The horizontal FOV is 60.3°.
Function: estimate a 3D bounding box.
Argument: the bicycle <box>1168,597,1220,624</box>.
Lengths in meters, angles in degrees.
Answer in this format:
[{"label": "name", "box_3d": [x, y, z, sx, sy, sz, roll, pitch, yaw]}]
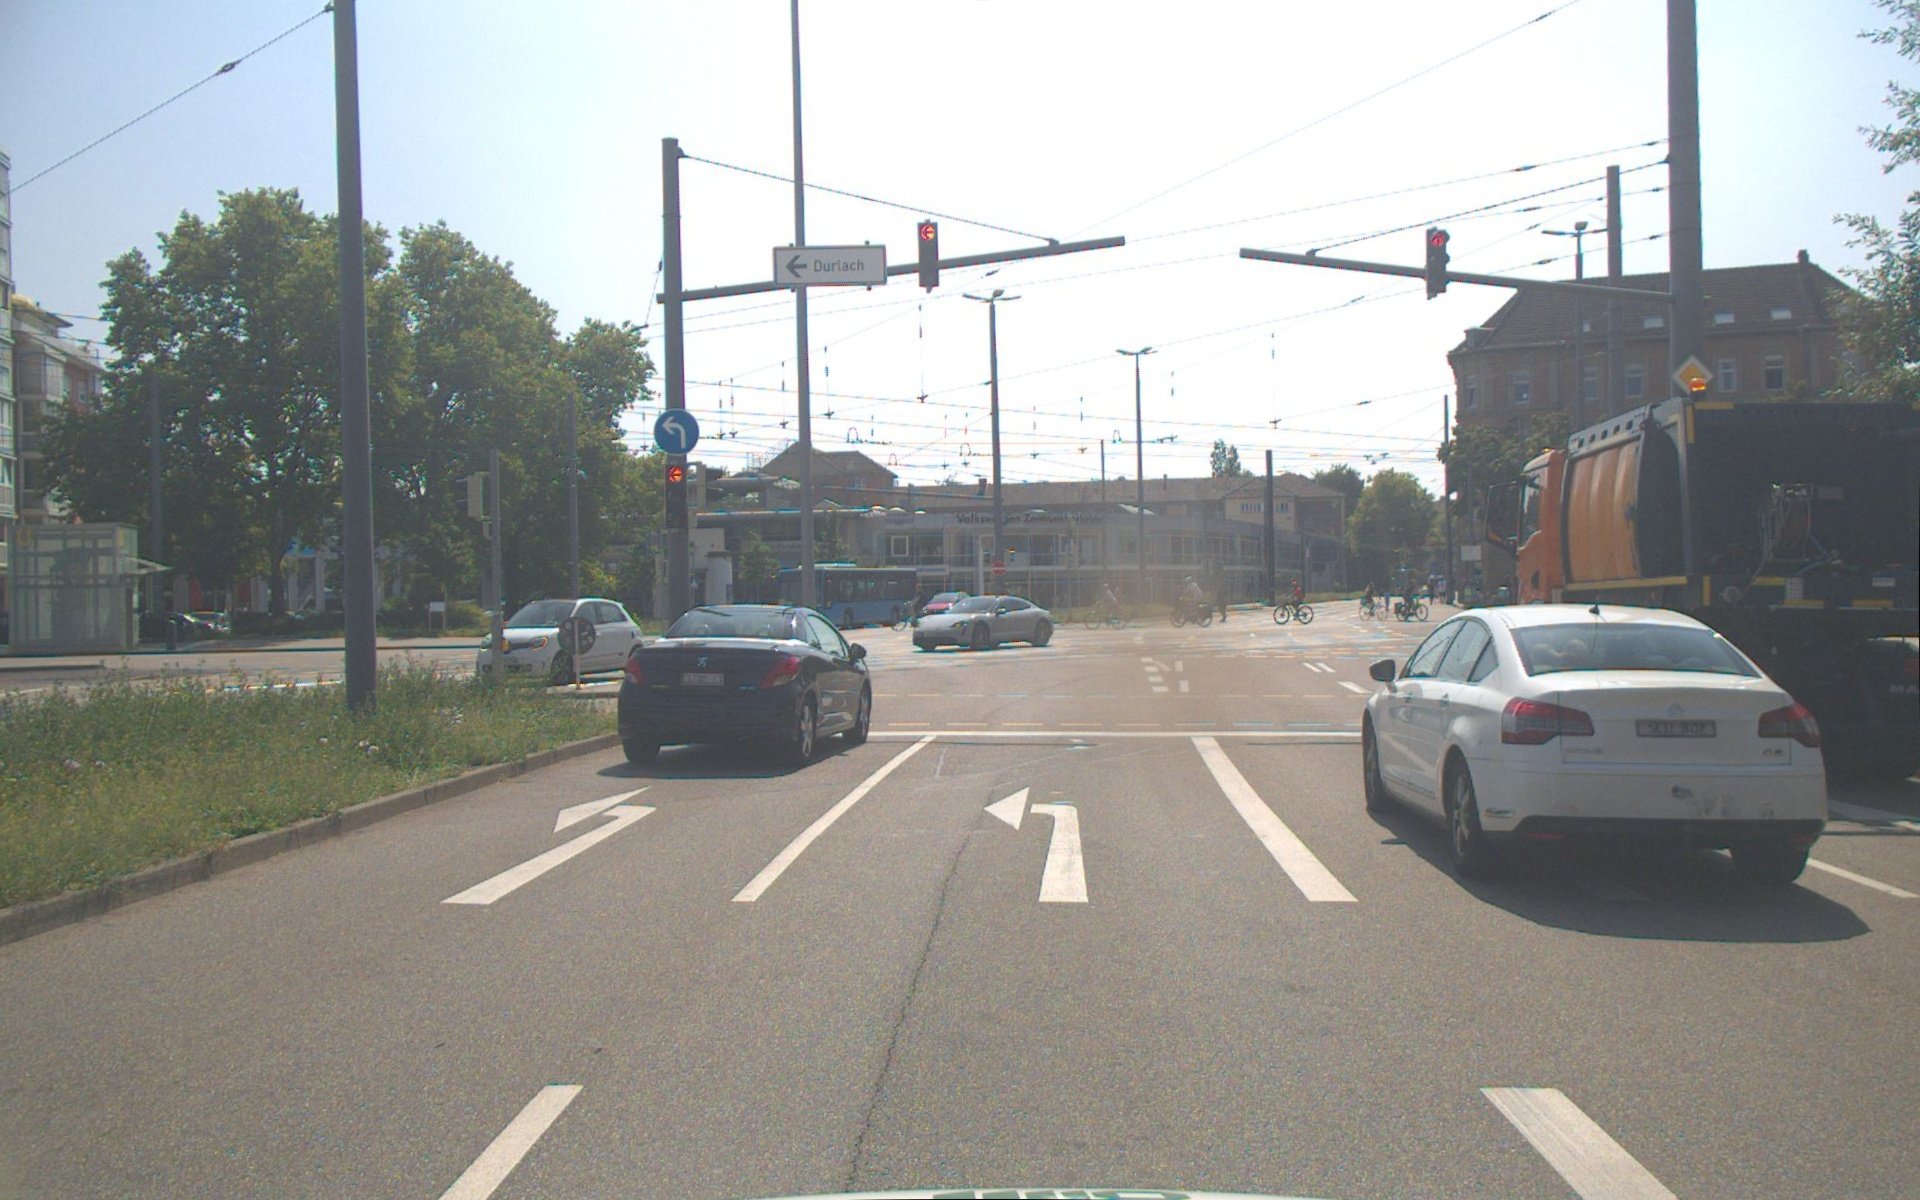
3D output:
[{"label": "bicycle", "box_3d": [9.334, 0.416, 65.987, 1.940, 1.036, 0.713, -1, 0, -7]}]

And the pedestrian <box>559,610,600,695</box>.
[{"label": "pedestrian", "box_3d": [-5.991, 0.822, 26.031, 0.586, 1.290, 0.503, -1, 2, -15]}]

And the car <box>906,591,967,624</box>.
[{"label": "car", "box_3d": [-1.094, 0.340, 78.229, 1.692, 1.444, 3.842, -1, 0, 18]}]

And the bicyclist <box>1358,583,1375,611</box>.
[{"label": "bicyclist", "box_3d": [18.591, -0.124, 75.644, 0.590, 1.269, 0.500, -1, 0, -39]}]

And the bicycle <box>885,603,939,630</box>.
[{"label": "bicycle", "box_3d": [-2.059, 0.702, 70.610, 2.161, 1.106, 0.760, -1, 0, -15]}]

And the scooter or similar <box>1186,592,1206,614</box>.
[{"label": "scooter or similar", "box_3d": [10.742, 0.139, 75.343, 0.818, 0.991, 0.793, -1, 0, 2]}]

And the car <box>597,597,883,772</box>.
[{"label": "car", "box_3d": [-1.950, 0.706, 15.880, 1.720, 1.429, 3.984, 0, 0, 8]}]

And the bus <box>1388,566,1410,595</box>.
[{"label": "bus", "box_3d": [55.758, -2.504, 209.909, 2.507, 3.567, 7.807, -1, 0, 16]}]

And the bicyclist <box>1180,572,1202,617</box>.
[{"label": "bicyclist", "box_3d": [9.196, -0.222, 65.966, 0.691, 1.794, 0.713, -1, 0, -7]}]

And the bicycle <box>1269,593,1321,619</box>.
[{"label": "bicycle", "box_3d": [13.710, 0.260, 67.630, 1.940, 1.036, 0.714, -1, 0, 28]}]

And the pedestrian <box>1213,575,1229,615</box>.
[{"label": "pedestrian", "box_3d": [11.866, -0.223, 75.201, 0.609, 1.782, 0.628, -1, 0, 1]}]

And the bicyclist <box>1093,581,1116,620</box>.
[{"label": "bicyclist", "box_3d": [5.677, 0.027, 65.013, 0.655, 1.535, 0.710, -1, 0, -21]}]

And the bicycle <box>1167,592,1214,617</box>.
[{"label": "bicycle", "box_3d": [10.102, 0.188, 72.486, 1.950, 1.036, 0.710, -1, 0, -22]}]

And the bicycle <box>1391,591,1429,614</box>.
[{"label": "bicycle", "box_3d": [19.908, 0.114, 73.199, 1.558, 1.002, 0.507, -1, 0, 20]}]

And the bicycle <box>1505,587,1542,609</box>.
[{"label": "bicycle", "box_3d": [25.944, -0.097, 76.187, 1.559, 1.002, 0.507, -1, 0, 24]}]

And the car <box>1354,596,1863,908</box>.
[{"label": "car", "box_3d": [3.664, 0.734, 10.237, 1.721, 1.480, 4.428, 0, 0, 5]}]

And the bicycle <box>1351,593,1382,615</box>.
[{"label": "bicycle", "box_3d": [18.594, 0.177, 75.642, 1.581, 1.002, 0.500, -1, 0, -40]}]

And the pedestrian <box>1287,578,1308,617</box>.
[{"label": "pedestrian", "box_3d": [13.787, -0.104, 67.586, 0.649, 1.561, 0.714, -1, 0, 28]}]

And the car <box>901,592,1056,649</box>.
[{"label": "car", "box_3d": [0.560, 0.526, 44.852, 1.907, 1.424, 4.569, -1, 0, 36]}]

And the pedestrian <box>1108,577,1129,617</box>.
[{"label": "pedestrian", "box_3d": [7.150, -0.123, 74.512, 0.767, 1.782, 0.809, -1, 0, 19]}]

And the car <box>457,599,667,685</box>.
[{"label": "car", "box_3d": [-7.332, 0.738, 30.871, 1.734, 1.450, 4.066, -1, 0, 23]}]

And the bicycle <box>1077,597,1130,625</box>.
[{"label": "bicycle", "box_3d": [5.626, 0.420, 64.996, 1.950, 1.036, 0.710, -1, 0, -22]}]

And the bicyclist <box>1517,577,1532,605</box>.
[{"label": "bicyclist", "box_3d": [26.003, -0.427, 76.160, 0.582, 1.269, 0.507, -1, 0, 24]}]

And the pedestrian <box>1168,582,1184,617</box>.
[{"label": "pedestrian", "box_3d": [9.829, -0.032, 75.354, 0.622, 1.588, 0.748, -1, 0, 2]}]

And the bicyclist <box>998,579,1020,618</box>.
[{"label": "bicyclist", "box_3d": [2.120, -0.062, 71.560, 0.748, 1.662, 0.761, -1, 0, -11]}]

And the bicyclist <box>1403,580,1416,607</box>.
[{"label": "bicyclist", "box_3d": [19.886, -0.282, 73.210, 0.493, 1.209, 0.507, -1, 0, 20]}]

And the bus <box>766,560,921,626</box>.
[{"label": "bus", "box_3d": [-5.512, -0.384, 81.512, 2.990, 2.982, 11.855, -1, 0, 20]}]

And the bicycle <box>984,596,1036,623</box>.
[{"label": "bicycle", "box_3d": [2.164, 0.409, 71.571, 2.158, 1.106, 0.761, -1, 0, -12]}]

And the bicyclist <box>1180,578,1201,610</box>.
[{"label": "bicyclist", "box_3d": [10.100, -0.248, 72.487, 0.658, 1.374, 0.707, -1, 0, -21]}]

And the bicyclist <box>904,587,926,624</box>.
[{"label": "bicyclist", "box_3d": [-1.917, 0.233, 70.645, 0.784, 1.568, 0.760, -1, 0, -15]}]

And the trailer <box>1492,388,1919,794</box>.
[{"label": "trailer", "box_3d": [6.979, -0.094, 15.692, 2.410, 3.060, 6.330, 0, 0, 6]}]

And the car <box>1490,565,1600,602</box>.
[{"label": "car", "box_3d": [23.744, -0.668, 67.178, 3.820, 1.444, 1.731, -1, 0, -7]}]
